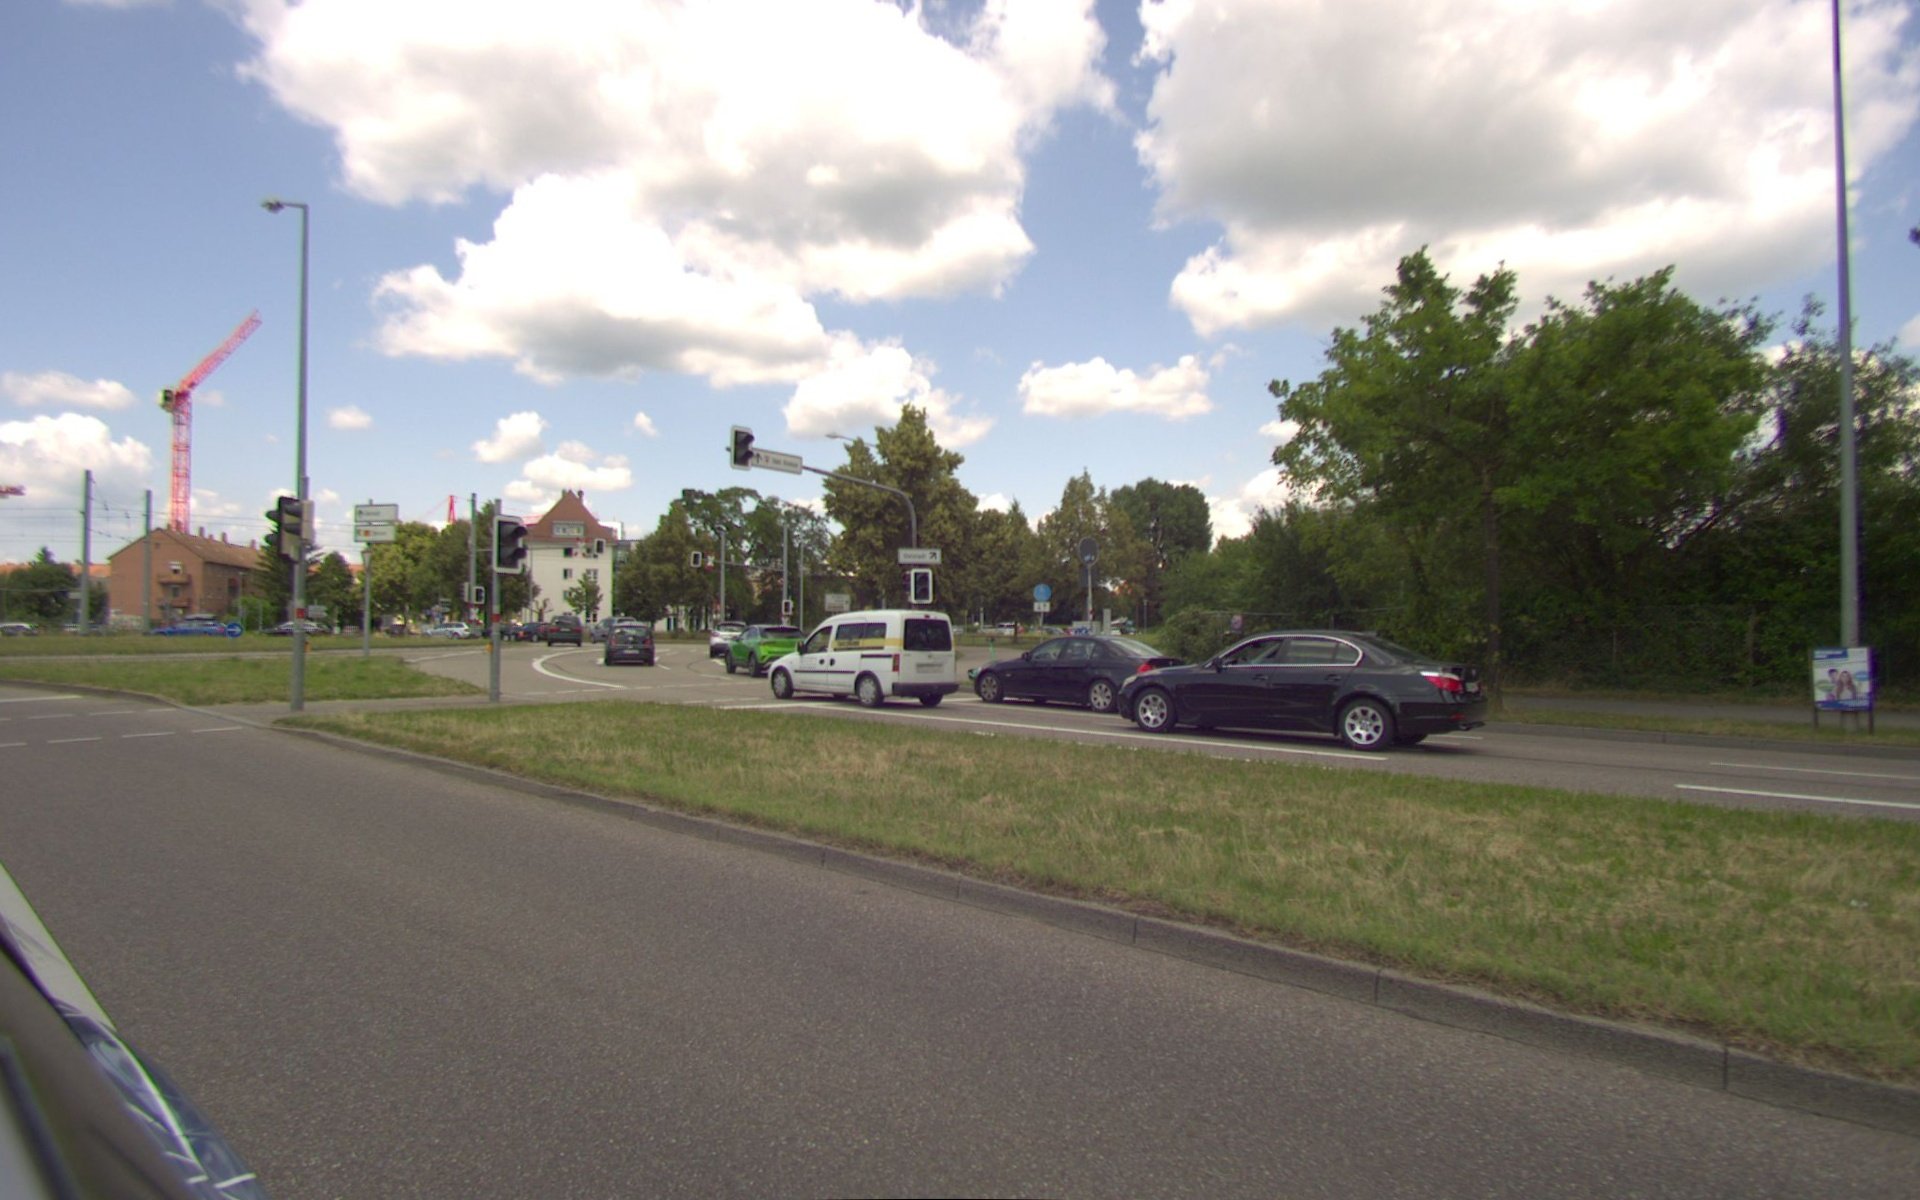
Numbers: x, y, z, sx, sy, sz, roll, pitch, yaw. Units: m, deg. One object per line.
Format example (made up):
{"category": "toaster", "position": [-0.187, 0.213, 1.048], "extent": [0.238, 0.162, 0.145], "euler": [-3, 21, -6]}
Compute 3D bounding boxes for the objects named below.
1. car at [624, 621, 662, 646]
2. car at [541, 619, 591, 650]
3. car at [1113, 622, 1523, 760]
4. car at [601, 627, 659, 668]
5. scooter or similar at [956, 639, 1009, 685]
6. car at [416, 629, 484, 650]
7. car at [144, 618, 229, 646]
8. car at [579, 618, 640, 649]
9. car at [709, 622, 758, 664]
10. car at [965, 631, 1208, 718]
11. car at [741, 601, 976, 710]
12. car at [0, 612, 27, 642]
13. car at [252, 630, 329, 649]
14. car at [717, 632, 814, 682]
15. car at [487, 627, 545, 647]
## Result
{"category": "car", "position": [-18.615, 1.945, 59.621], "extent": [1.880, 1.434, 4.202], "euler": [0, -2, -14]}
{"category": "car", "position": [-21.517, 1.877, 55.436], "extent": [1.882, 1.604, 4.603], "euler": [1, -2, -12]}
{"category": "car", "position": [4.527, 1.077, 13.289], "extent": [4.751, 1.491, 1.818], "euler": [-1, -4, 42]}
{"category": "car", "position": [-11.724, 1.687, 36.080], "extent": [1.812, 1.320, 4.802], "euler": [2, -3, -17]}
{"category": "scooter or similar", "position": [0.584, 1.631, 26.887], "extent": [0.534, 1.175, 1.441], "euler": [1, -2, -45]}
{"category": "car", "position": [-38.076, 2.957, 75.607], "extent": [4.474, 1.533, 2.110], "euler": [-1, -2, 20]}
{"category": "car", "position": [-53.455, 2.215, 70.063], "extent": [4.332, 1.812, 1.761], "euler": [0, -2, -19]}
{"category": "car", "position": [-23.420, 2.237, 67.524], "extent": [1.970, 2.029, 4.790], "euler": [1, -2, -45]}
{"category": "car", "position": [-9.810, 1.849, 44.147], "extent": [1.967, 1.699, 4.798], "euler": [0, -2, -11]}
{"category": "car", "position": [2.313, 1.359, 19.335], "extent": [4.420, 1.454, 1.817], "euler": [-2, -4, 44]}
{"category": "car", "position": [-2.046, 1.021, 19.239], "extent": [1.816, 1.813, 4.791], "euler": [4, -4, -44]}
{"category": "car", "position": [-67.855, 1.875, 69.885], "extent": [1.995, 2.029, 4.670], "euler": [-2, -2, 34]}
{"category": "car", "position": [-50.118, 2.971, 75.847], "extent": [4.418, 1.333, 1.958], "euler": [0, -2, -9]}
{"category": "car", "position": [-5.883, 1.682, 30.287], "extent": [1.593, 1.358, 4.183], "euler": [3, -3, -29]}
{"category": "car", "position": [-31.748, 2.664, 72.332], "extent": [3.965, 1.351, 1.784], "euler": [-1, -4, 31]}
